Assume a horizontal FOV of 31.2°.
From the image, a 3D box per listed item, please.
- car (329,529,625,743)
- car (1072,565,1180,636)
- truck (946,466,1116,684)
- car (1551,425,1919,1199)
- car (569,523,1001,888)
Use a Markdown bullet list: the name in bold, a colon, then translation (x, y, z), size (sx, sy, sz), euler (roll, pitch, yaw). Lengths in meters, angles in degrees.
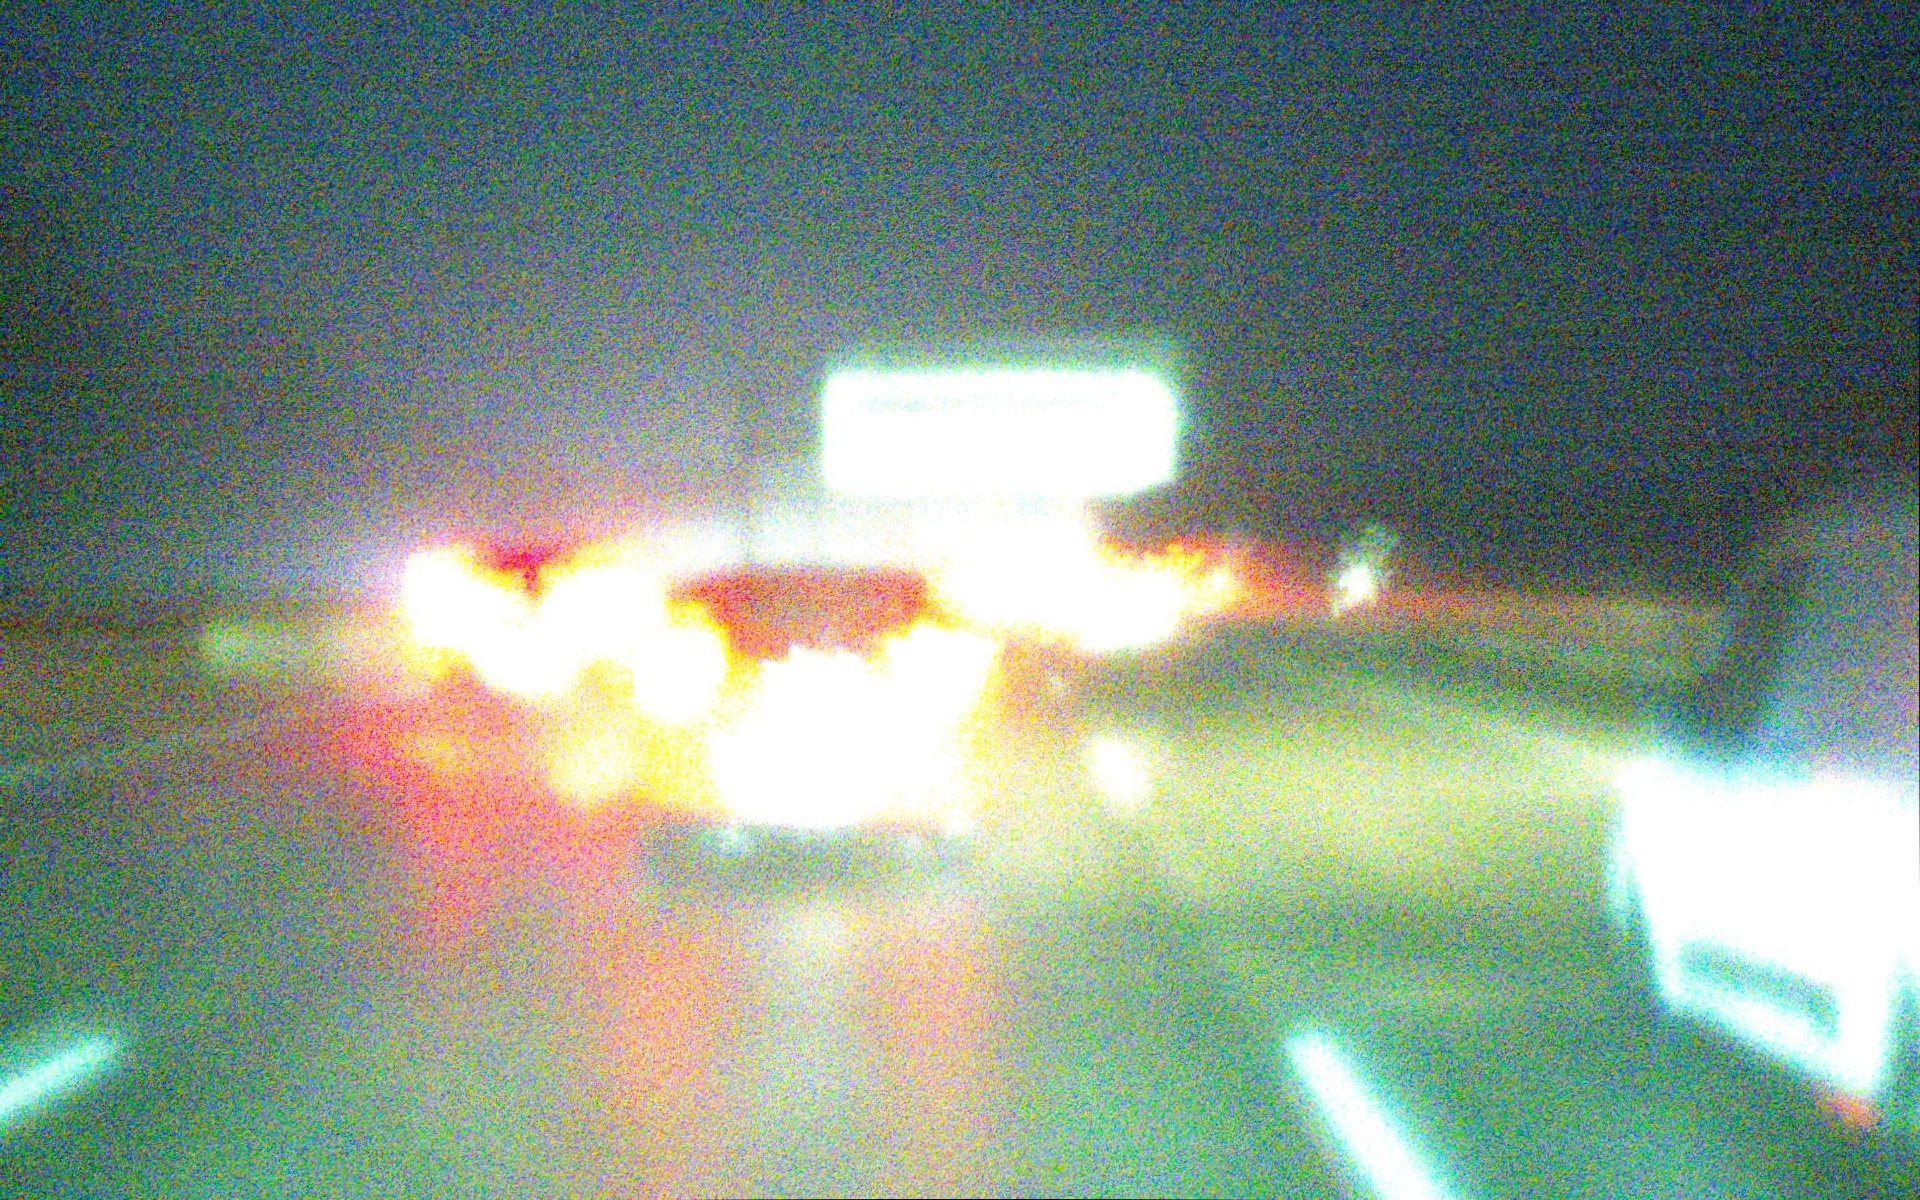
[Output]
- **car**: translation (-4.422, 0.299, 32.233), size (1.993, 1.771, 4.887), euler (-2, 0, 0)
- **car**: translation (3.312, -0.005, 69.233), size (1.889, 1.349, 4.000), euler (1, 1, -1)
- **truck**: translation (1.824, -0.684, 96.554), size (4.167, 5.525, 13.074), euler (-2, 0, -1)
- **car**: translation (2.937, 0.530, 8.880), size (1.953, 1.786, 5.124), euler (0, 0, 0)
- **car**: translation (-0.812, 0.474, 17.845), size (1.916, 1.589, 4.233), euler (-2, 0, 0)
